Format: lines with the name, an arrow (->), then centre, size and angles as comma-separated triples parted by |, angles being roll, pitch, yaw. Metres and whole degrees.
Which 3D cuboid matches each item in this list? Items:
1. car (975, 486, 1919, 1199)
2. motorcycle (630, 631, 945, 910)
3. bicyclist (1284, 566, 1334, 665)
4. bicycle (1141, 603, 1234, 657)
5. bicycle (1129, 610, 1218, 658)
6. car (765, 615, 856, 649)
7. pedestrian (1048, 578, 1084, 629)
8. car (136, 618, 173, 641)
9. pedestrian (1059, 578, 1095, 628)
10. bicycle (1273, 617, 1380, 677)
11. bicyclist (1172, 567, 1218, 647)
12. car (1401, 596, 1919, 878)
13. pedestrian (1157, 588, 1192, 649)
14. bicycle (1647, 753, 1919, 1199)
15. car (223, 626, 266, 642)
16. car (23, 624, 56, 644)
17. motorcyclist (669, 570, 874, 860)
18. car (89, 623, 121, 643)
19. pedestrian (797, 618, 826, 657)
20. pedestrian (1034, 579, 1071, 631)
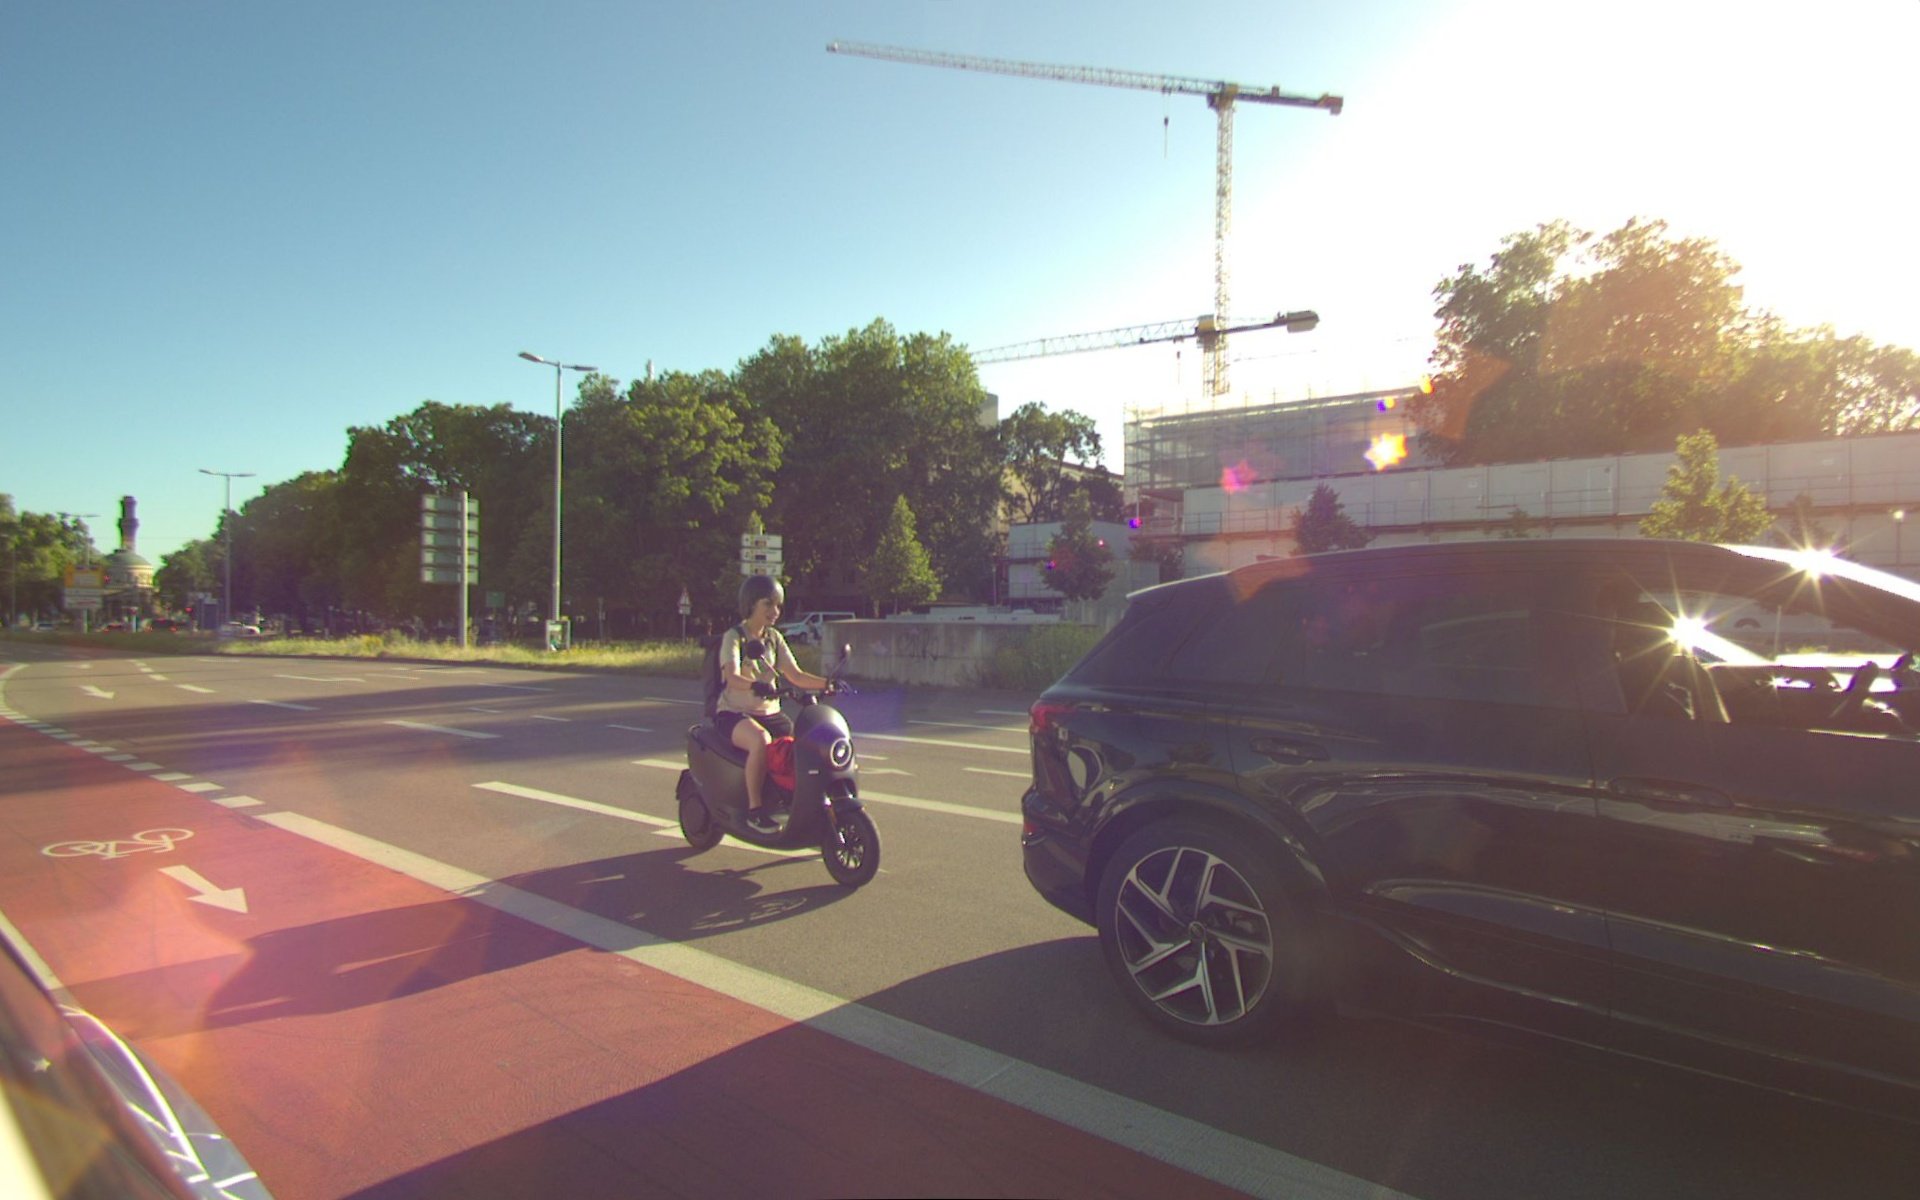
car -> 2.418, 0.576, 3.026 | 4.677, 1.647, 1.753 | -1, 0, 40
motorcycle -> -1.030, 0.842, 5.729 | 1.883, 1.303, 0.715 | -2, -1, 41
bicyclist -> 11.285, 0.486, 32.741 | 1.305, 3.126, 0.831 | -1, 0, 39
bicycle -> 7.920, 1.073, 35.415 | 3.079, 1.824, 0.831 | -3, -1, 40
bicycle -> 8.439, 1.307, 40.162 | 3.355, 1.824, 1.066 | -1, 0, 40
car -> -9.062, 1.926, 61.844 | 2.065, 1.950, 5.443 | -1, -2, 42
pedestrian -> 4.310, 0.133, 41.237 | 1.135, 2.029, 0.930 | -1, 0, 35
car -> -68.434, 2.488, 85.990 | 3.998, 1.841, 1.796 | -1, 0, 41
pedestrian -> 4.864, 0.125, 42.041 | 1.135, 2.029, 0.930 | -1, 0, 35
bicycle -> 11.710, 1.510, 32.401 | 3.079, 1.824, 0.831 | -3, -1, 40
bicyclist -> 8.172, 0.239, 35.229 | 1.305, 2.749, 0.831 | -1, 0, 39
car -> 4.976, 0.754, 6.546 | 3.603, 1.497, 1.477 | -2, -1, 41
pedestrian -> 8.508, 0.718, 40.110 | 1.017, 2.393, 1.008 | -1, 0, 39
bicycle -> 1.267, 0.749, 0.182 | 1.829, 1.227, 0.610 | -2, -1, 39
car -> -83.482, 3.977, 118.049 | 3.939, 1.699, 1.853 | -1, 0, -42
car -> -84.815, 3.128, 93.208 | 3.998, 1.699, 1.826 | -1, 0, 41
motorcyclist -> -1.077, 0.596, 5.770 | 0.917, 1.485, 0.717 | -2, -1, 41
car -> -79.872, 3.039, 94.527 | 3.945, 1.802, 1.725 | -1, 0, 41
pedestrian -> -7.309, 1.844, 49.782 | 1.018, 1.845, 0.977 | -1, 0, 37
pedestrian -> 3.698, 0.191, 40.420 | 1.135, 2.029, 0.930 | -1, 0, 35
